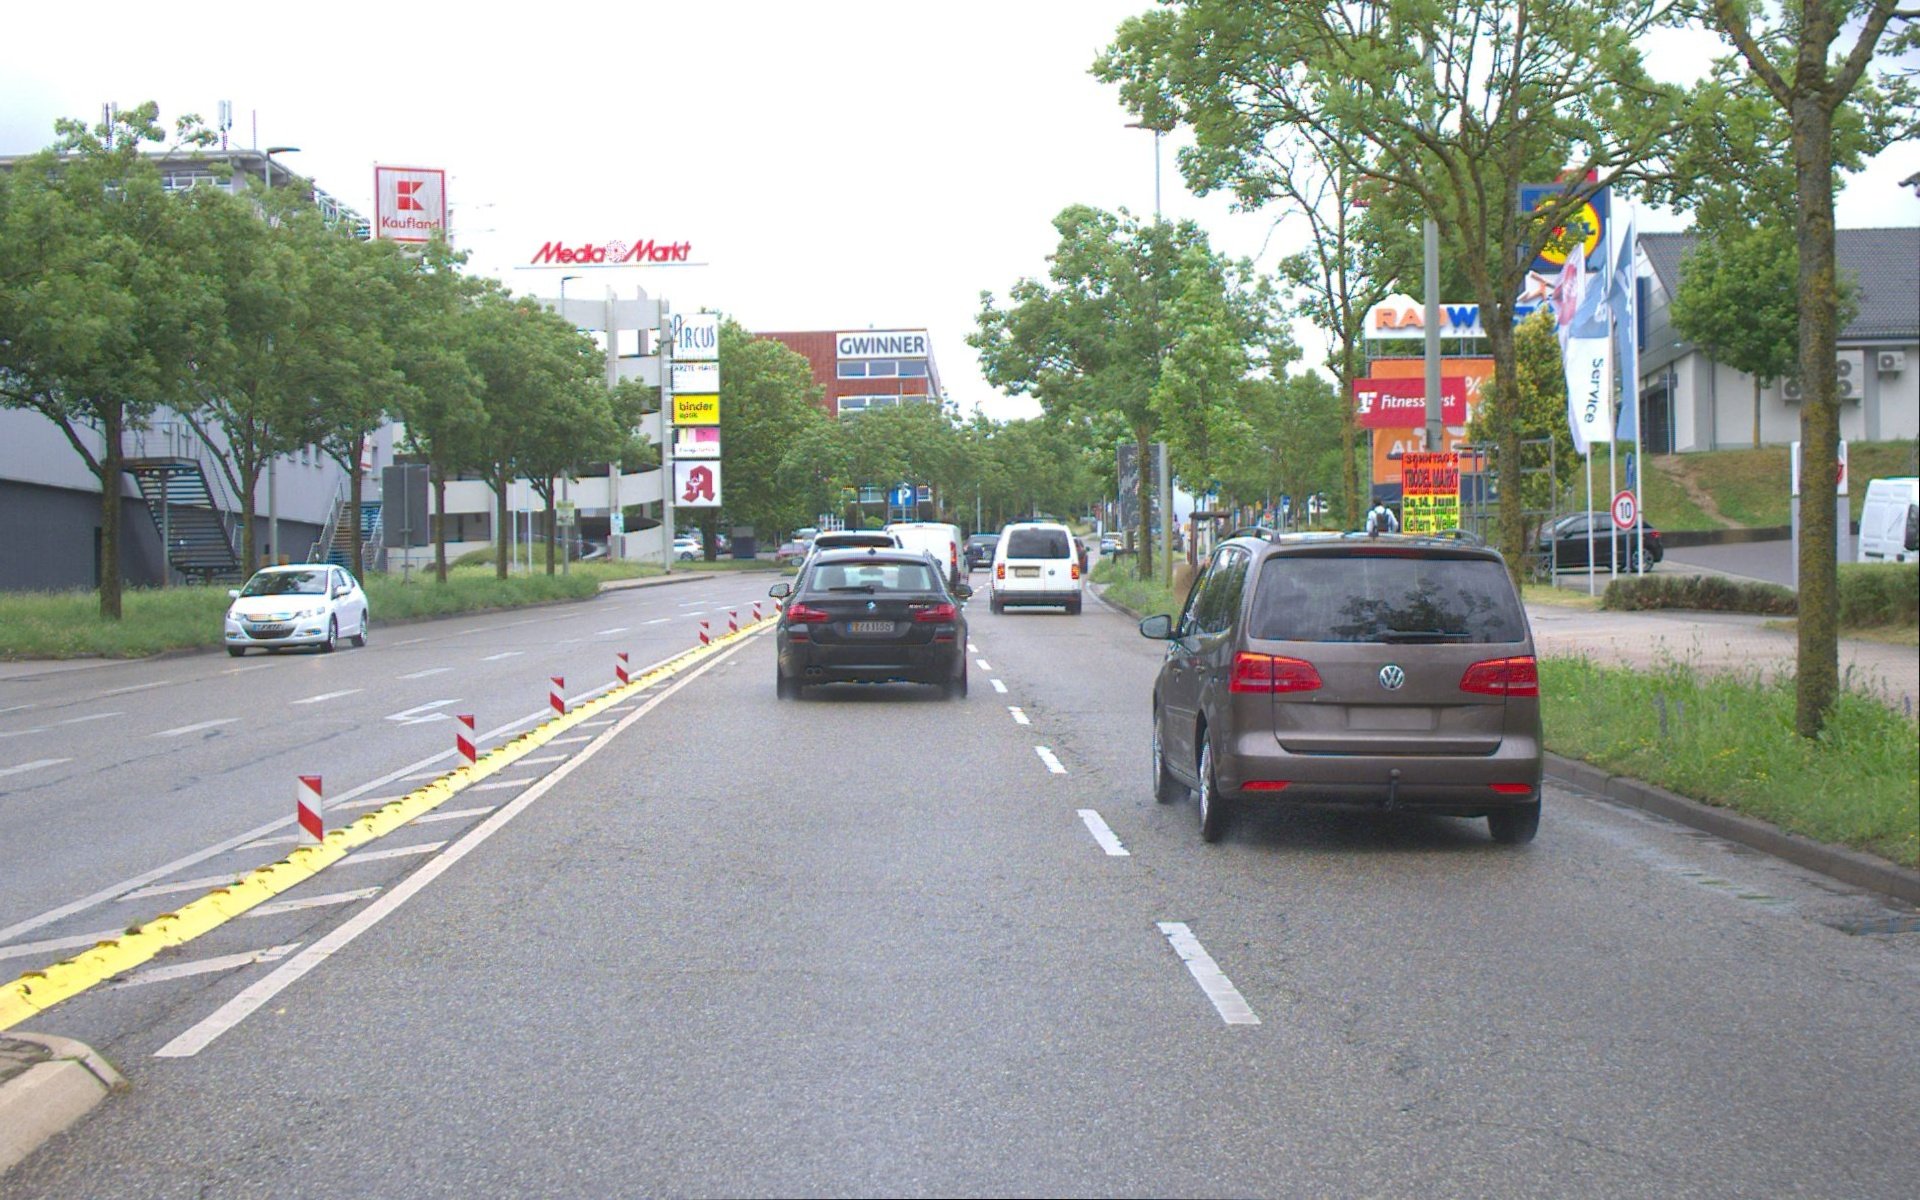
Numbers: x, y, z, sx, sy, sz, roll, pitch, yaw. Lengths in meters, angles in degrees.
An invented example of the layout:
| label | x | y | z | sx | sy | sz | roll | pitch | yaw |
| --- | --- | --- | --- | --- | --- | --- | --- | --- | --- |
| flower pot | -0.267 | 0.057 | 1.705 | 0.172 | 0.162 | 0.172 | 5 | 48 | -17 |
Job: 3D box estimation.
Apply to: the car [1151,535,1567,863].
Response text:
| label | x | y | z | sx | sy | sz | roll | pitch | yaw |
| --- | --- | --- | --- | --- | --- | --- | --- | --- | --- |
| car | 2.078 | 0.457 | 19.076 | 1.801 | 1.581 | 4.451 | 1 | 1 | 0 |

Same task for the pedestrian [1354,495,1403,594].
| label | x | y | z | sx | sy | sz | roll | pitch | yaw |
| --- | --- | --- | --- | --- | --- | --- | --- | --- | --- |
| pedestrian | 8.603 | -1.137 | 70.742 | 0.843 | 2.007 | 0.862 | -1 | 1 | -3 |

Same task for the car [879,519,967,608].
| label | x | y | z | sx | sy | sz | roll | pitch | yaw |
| --- | --- | --- | --- | --- | --- | --- | --- | --- | --- |
| car | -0.858 | -0.836 | 80.785 | 1.993 | 2.007 | 4.000 | 1 | 0 | 0 |

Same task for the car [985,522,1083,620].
| label | x | y | z | sx | sy | sz | roll | pitch | yaw |
| --- | --- | --- | --- | --- | --- | --- | --- | --- | --- |
| car | 1.444 | -0.578 | 68.755 | 1.782 | 1.860 | 4.000 | -2 | 0 | -1 |

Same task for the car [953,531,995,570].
| label | x | y | z | sx | sy | sz | roll | pitch | yaw |
| --- | --- | --- | --- | --- | --- | --- | --- | --- | --- |
| car | 0.548 | -1.995 | 138.308 | 1.594 | 1.469 | 3.445 | 1 | 0 | -1 |

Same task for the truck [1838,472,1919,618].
| label | x | y | z | sx | sy | sz | roll | pitch | yaw |
| --- | --- | --- | --- | --- | --- | --- | --- | --- | --- |
| truck | 16.672 | -0.879 | 57.542 | 2.442 | 2.340 | 5.459 | 1 | 0 | -1 |

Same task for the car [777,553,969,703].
| label | x | y | z | sx | sy | sz | roll | pitch | yaw |
| --- | --- | --- | --- | --- | --- | --- | --- | --- | --- |
| car | -0.829 | 0.243 | 34.051 | 1.781 | 1.393 | 4.000 | 0 | 0 | -1 |

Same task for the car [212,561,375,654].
| label | x | y | z | sx | sy | sz | roll | pitch | yaw |
| --- | --- | --- | --- | --- | --- | --- | --- | --- | --- |
| car | -10.850 | 0.097 | 56.201 | 1.943 | 1.443 | 4.000 | 0 | 1 | -1 |

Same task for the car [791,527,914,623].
| label | x | y | z | sx | sy | sz | roll | pitch | yaw |
| --- | --- | --- | --- | --- | --- | --- | --- | --- | --- |
| car | -1.598 | -0.381 | 52.393 | 1.781 | 1.393 | 4.000 | 0 | 0 | -1 |
